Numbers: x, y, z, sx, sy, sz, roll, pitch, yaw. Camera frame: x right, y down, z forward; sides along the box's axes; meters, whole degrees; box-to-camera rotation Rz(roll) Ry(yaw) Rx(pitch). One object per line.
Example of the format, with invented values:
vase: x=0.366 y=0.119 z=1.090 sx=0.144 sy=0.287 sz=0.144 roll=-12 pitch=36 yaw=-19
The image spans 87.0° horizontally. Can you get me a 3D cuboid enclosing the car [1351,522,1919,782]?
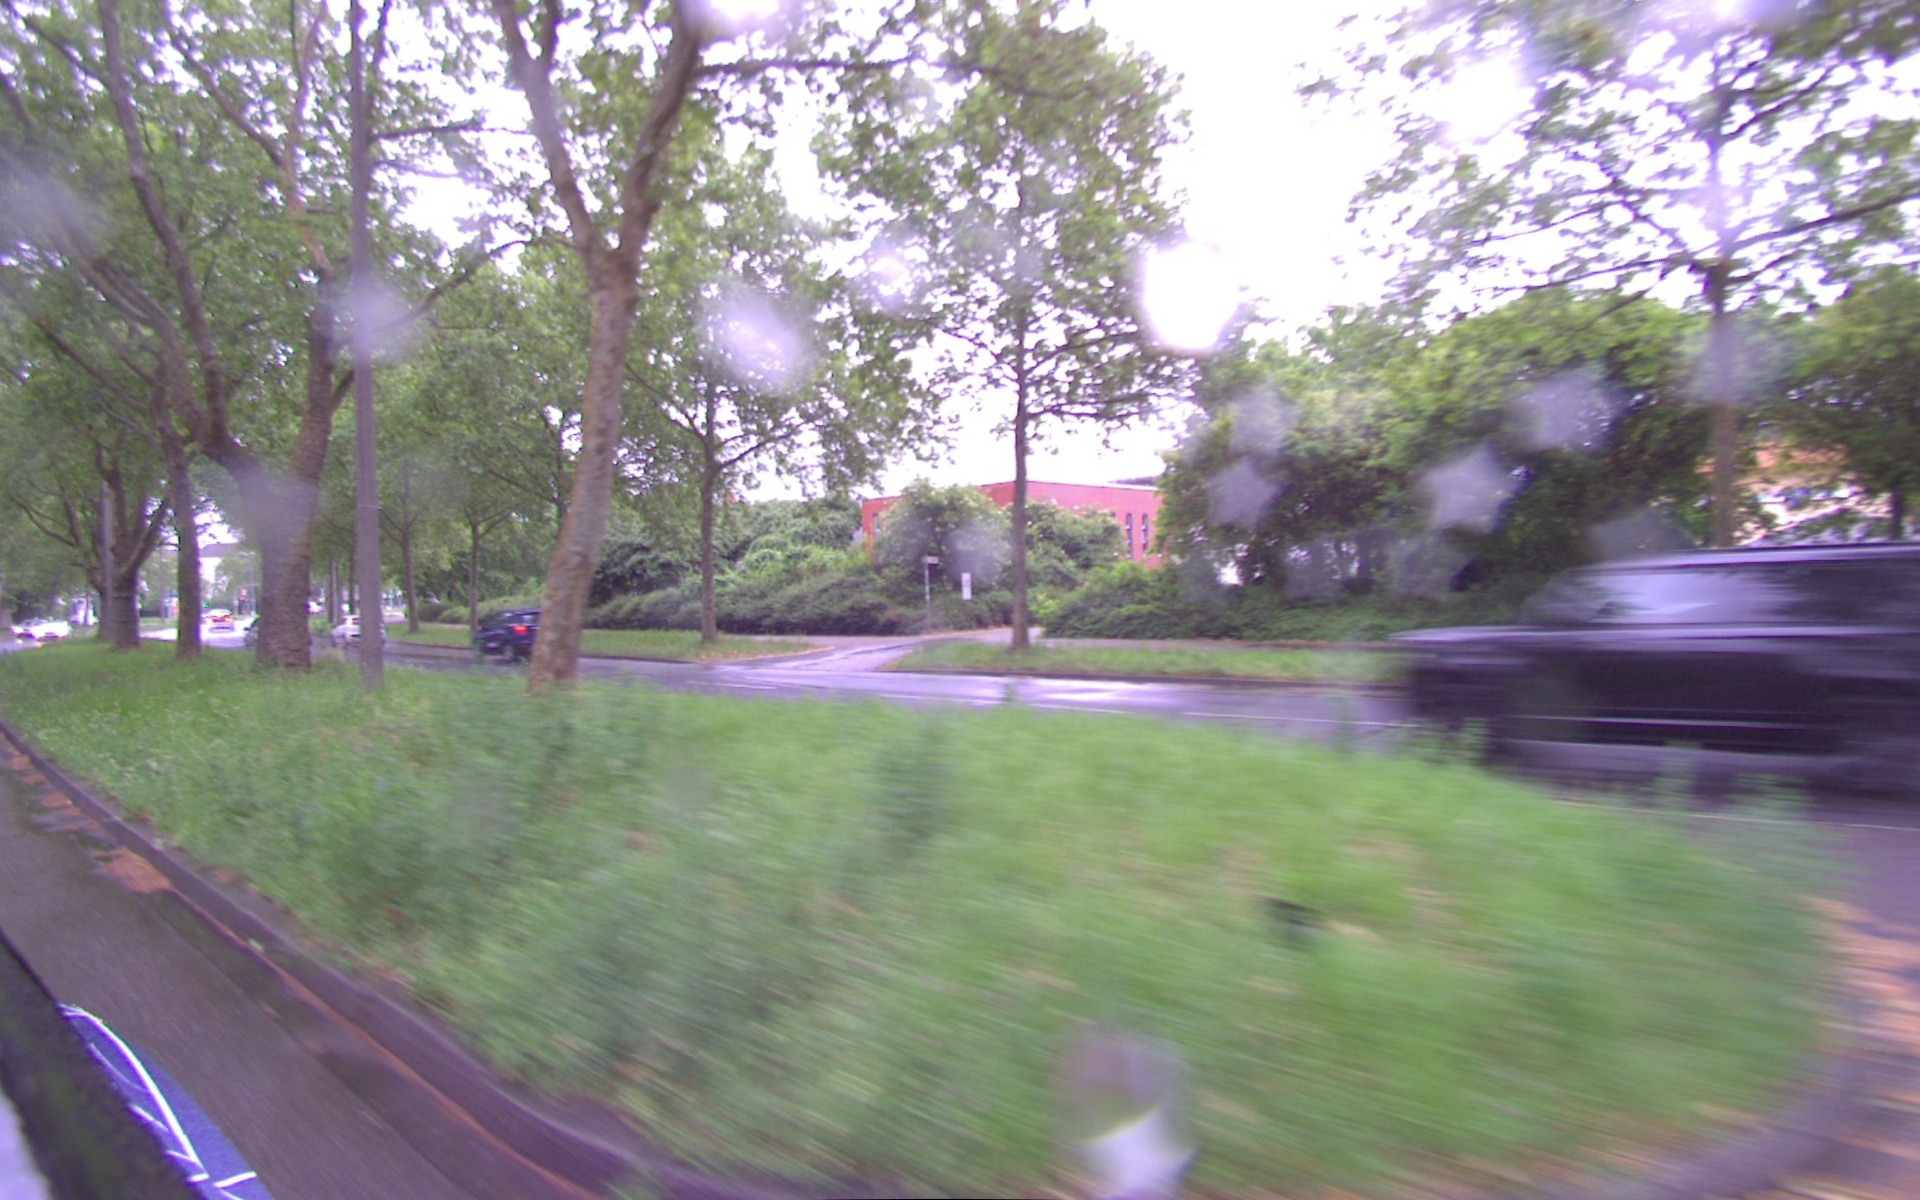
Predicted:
car: x=6.284 y=0.380 z=8.764 sx=5.113 sy=1.855 sz=1.727 roll=-1 pitch=0 yaw=38

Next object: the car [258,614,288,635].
car: x=-52.721 y=1.837 z=77.683 sx=1.719 sy=1.470 sz=3.853 roll=-2 pitch=0 yaw=-32

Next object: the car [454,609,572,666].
car: x=-14.029 y=1.146 z=31.667 sx=4.207 sy=1.603 sz=1.726 roll=-1 pitch=0 yaw=41

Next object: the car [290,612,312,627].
car: x=-81.165 y=2.402 z=124.688 sx=1.966 sy=1.643 sz=4.345 roll=-3 pitch=1 yaw=-29

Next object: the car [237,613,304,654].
car: x=-29.494 y=1.406 z=43.239 sx=1.722 sy=1.603 sz=4.335 roll=-2 pitch=1 yaw=-42

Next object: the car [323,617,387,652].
car: x=-28.207 y=1.575 z=47.125 sx=1.723 sy=1.487 sz=4.087 roll=-2 pitch=1 yaw=-43

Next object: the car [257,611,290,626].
car: x=-87.097 y=2.338 z=128.471 sx=2.002 sy=1.749 sz=4.969 roll=-2 pitch=0 yaw=-17

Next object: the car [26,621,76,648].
car: x=-63.812 y=2.400 z=71.131 sx=1.967 sy=1.641 sz=4.534 roll=-3 pitch=1 yaw=-34

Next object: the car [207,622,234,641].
car: x=-62.024 y=2.605 z=84.809 sx=1.721 sy=1.487 sz=4.419 roll=-2 pitch=1 yaw=-37

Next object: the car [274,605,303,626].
car: x=-78.666 y=1.799 z=118.637 sx=2.001 sy=2.243 sz=5.452 roll=-2 pitch=0 yaw=-24
